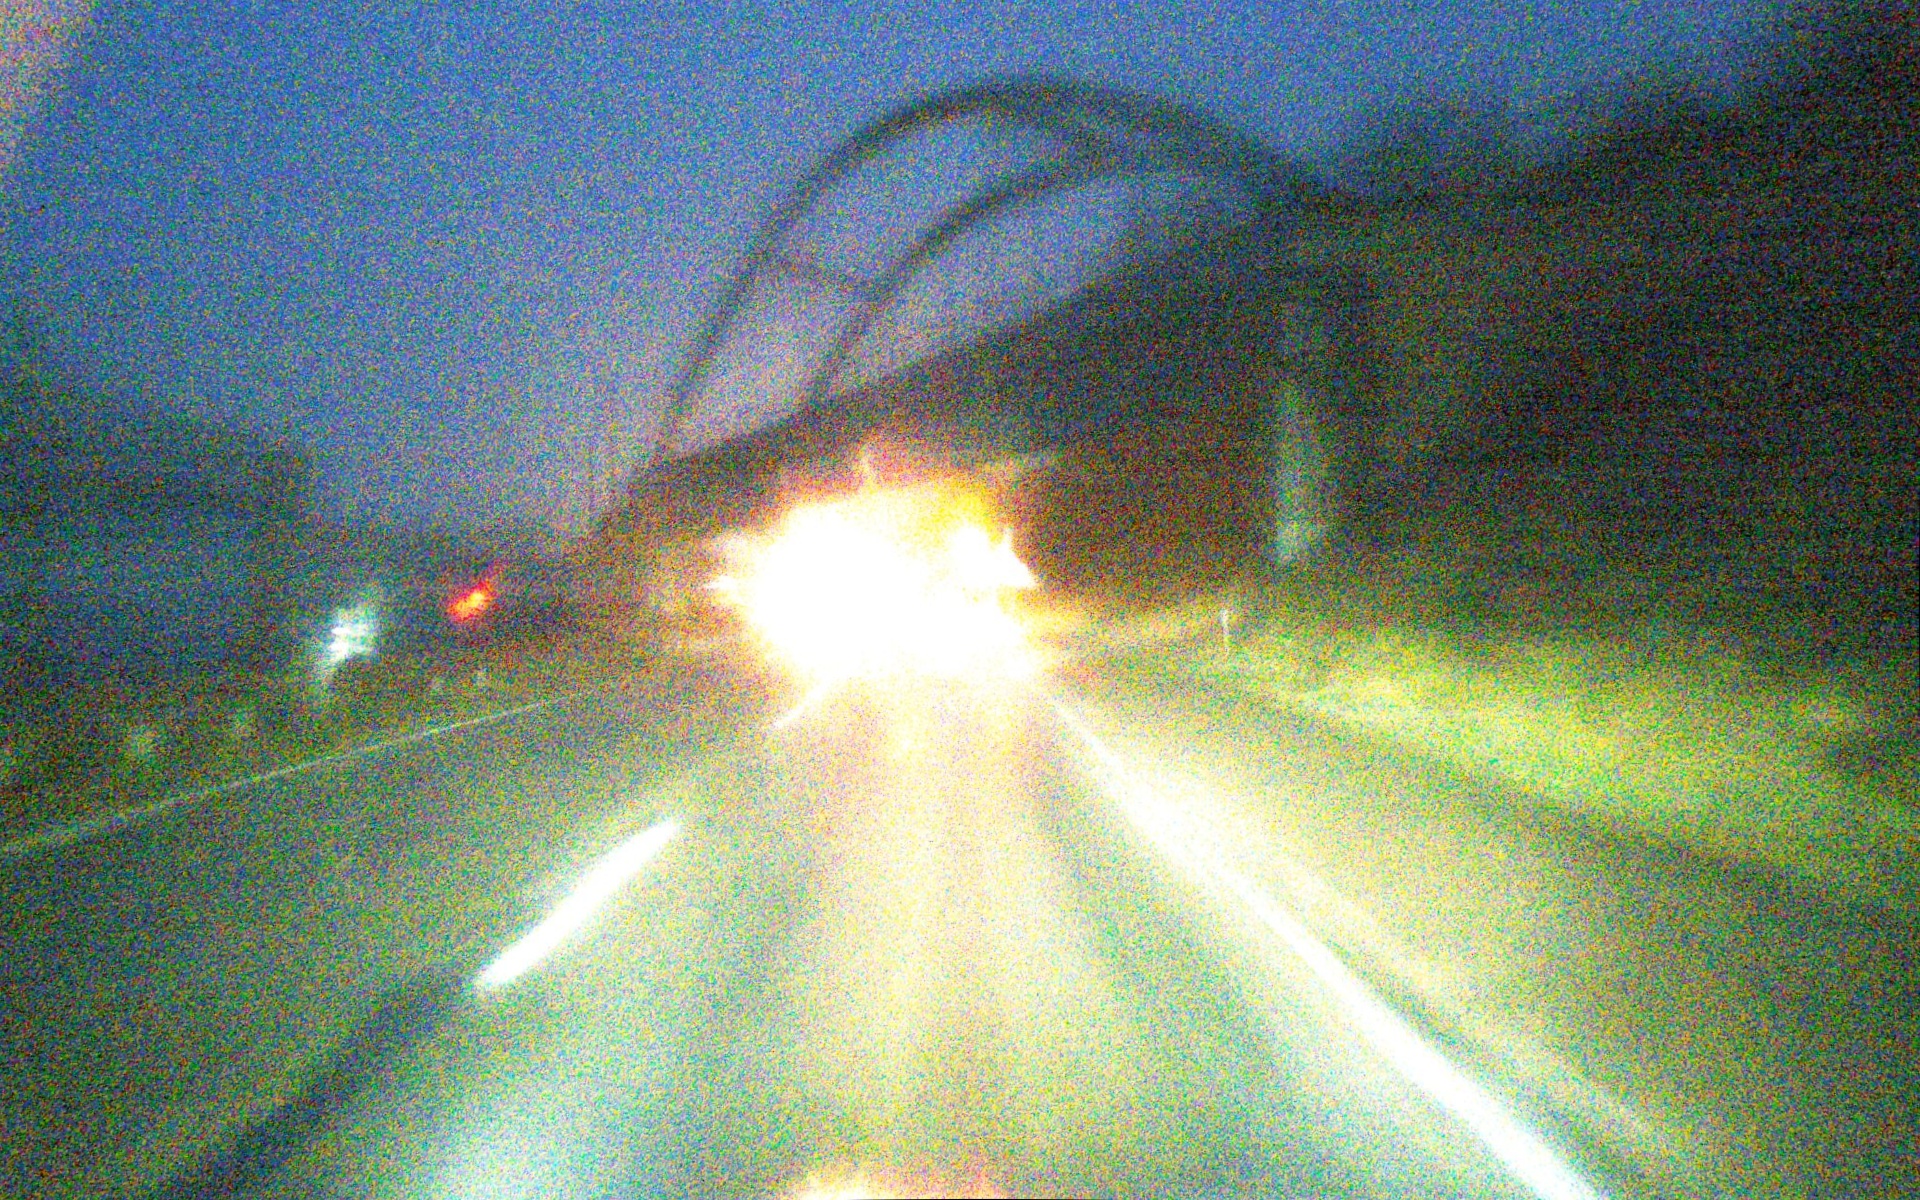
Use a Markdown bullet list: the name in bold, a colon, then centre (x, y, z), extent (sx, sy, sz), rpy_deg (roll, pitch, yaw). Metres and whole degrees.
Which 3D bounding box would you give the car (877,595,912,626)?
- **car**: centre (-4.230, 0.689, 106.444), extent (1.955, 1.948, 3.995), rpy_deg (1, -1, -6)

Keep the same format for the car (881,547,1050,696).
- **car**: centre (-0.012, 0.336, 29.221), extent (2.661, 2.348, 6.098), rpy_deg (0, 0, -2)
